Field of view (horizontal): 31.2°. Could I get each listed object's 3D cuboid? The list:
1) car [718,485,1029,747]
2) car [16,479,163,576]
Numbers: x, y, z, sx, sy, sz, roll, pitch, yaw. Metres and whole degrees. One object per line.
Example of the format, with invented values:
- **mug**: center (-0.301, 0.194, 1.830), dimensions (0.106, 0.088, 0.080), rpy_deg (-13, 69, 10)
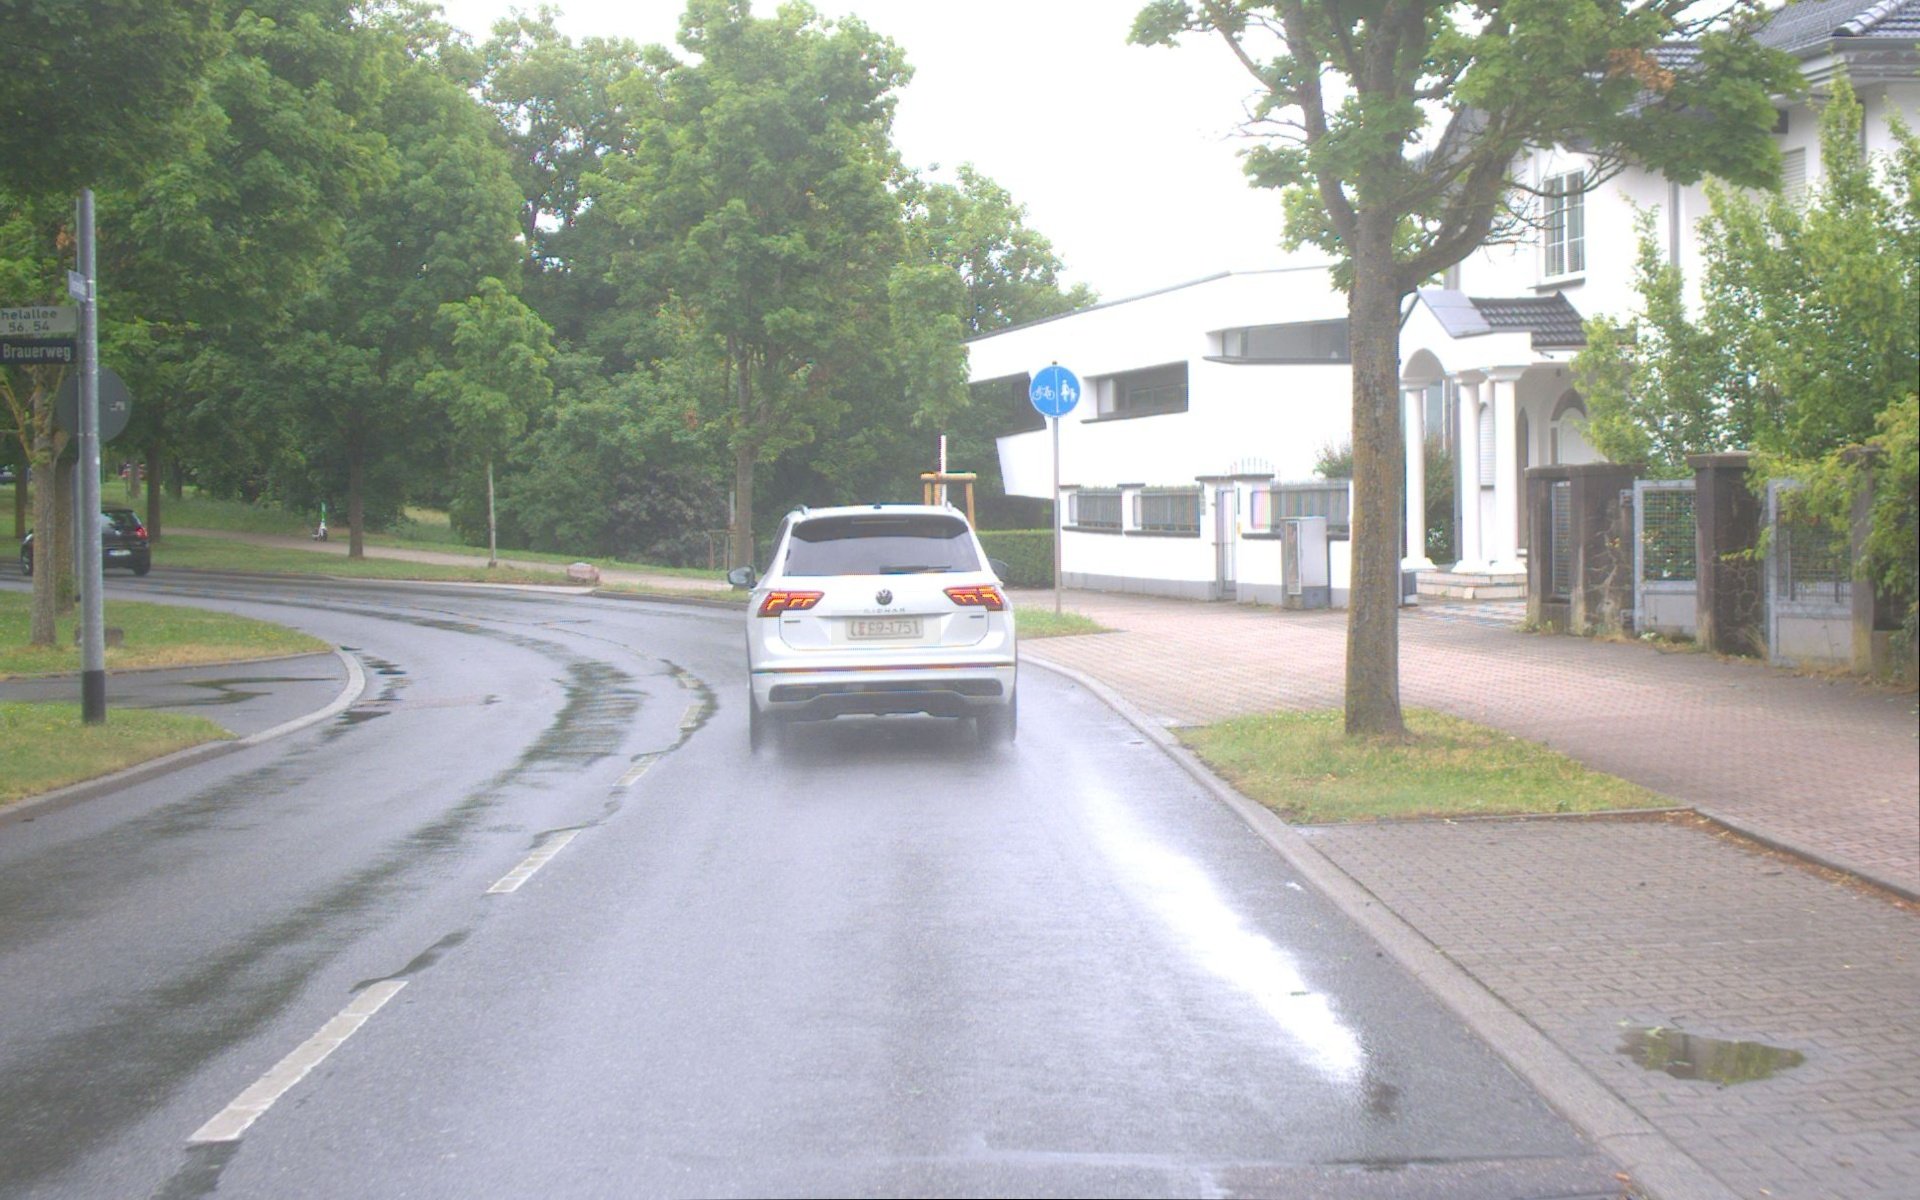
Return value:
- **car**: center (-0.565, 0.050, 24.419), dimensions (1.974, 1.647, 4.177), rpy_deg (-2, 2, 0)
- **car**: center (-18.805, -1.582, 74.176), dimensions (1.901, 2.007, 3.944), rpy_deg (1, 1, -33)
